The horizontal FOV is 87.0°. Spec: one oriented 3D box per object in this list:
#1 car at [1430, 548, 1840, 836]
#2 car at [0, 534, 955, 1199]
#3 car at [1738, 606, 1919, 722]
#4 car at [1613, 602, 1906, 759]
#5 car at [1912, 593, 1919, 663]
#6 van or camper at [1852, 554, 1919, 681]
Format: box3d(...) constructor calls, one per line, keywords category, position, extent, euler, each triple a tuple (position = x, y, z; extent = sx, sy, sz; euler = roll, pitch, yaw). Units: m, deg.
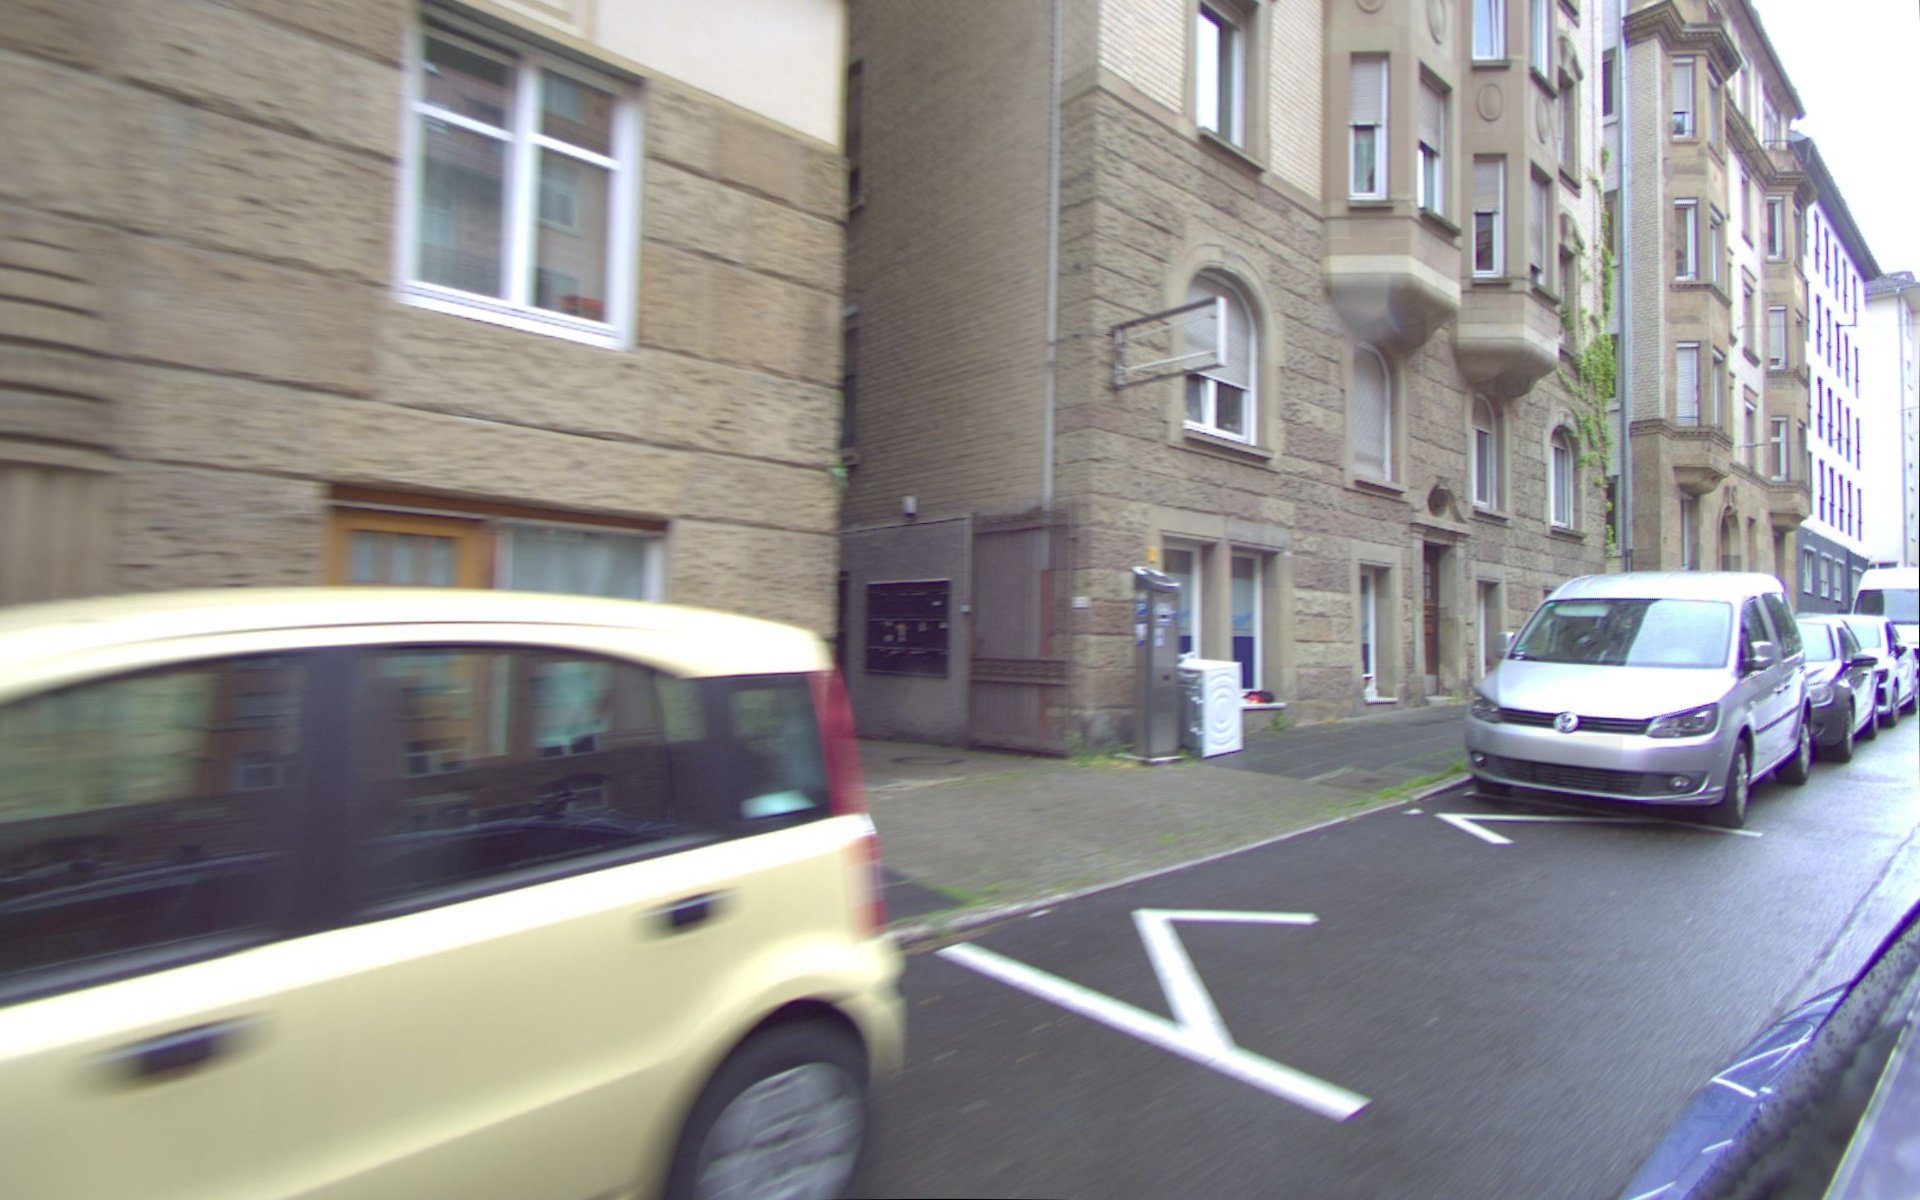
box3d(category="car", position=(5.758, 0.596, 8.420), extent=(4.284, 1.799, 1.777), euler=(1, -1, -41))
box3d(category="car", position=(-1.806, 0.682, 1.916), extent=(3.400, 1.497, 1.561), euler=(1, -2, -41))
box3d(category="car", position=(12.547, 0.820, 14.368), extent=(3.931, 1.429, 1.678), euler=(1, -2, -42))
box3d(category="car", position=(9.204, 0.762, 11.547), extent=(3.931, 1.459, 1.996), euler=(0, 0, -42))
box3d(category="car", position=(27.343, 0.720, 27.432), extent=(4.404, 1.831, 1.771), euler=(0, -2, -41))
box3d(category="van or camper", position=(21.153, 0.339, 21.840), extent=(6.012, 2.500, 2.068), euler=(0, -1, -41))
